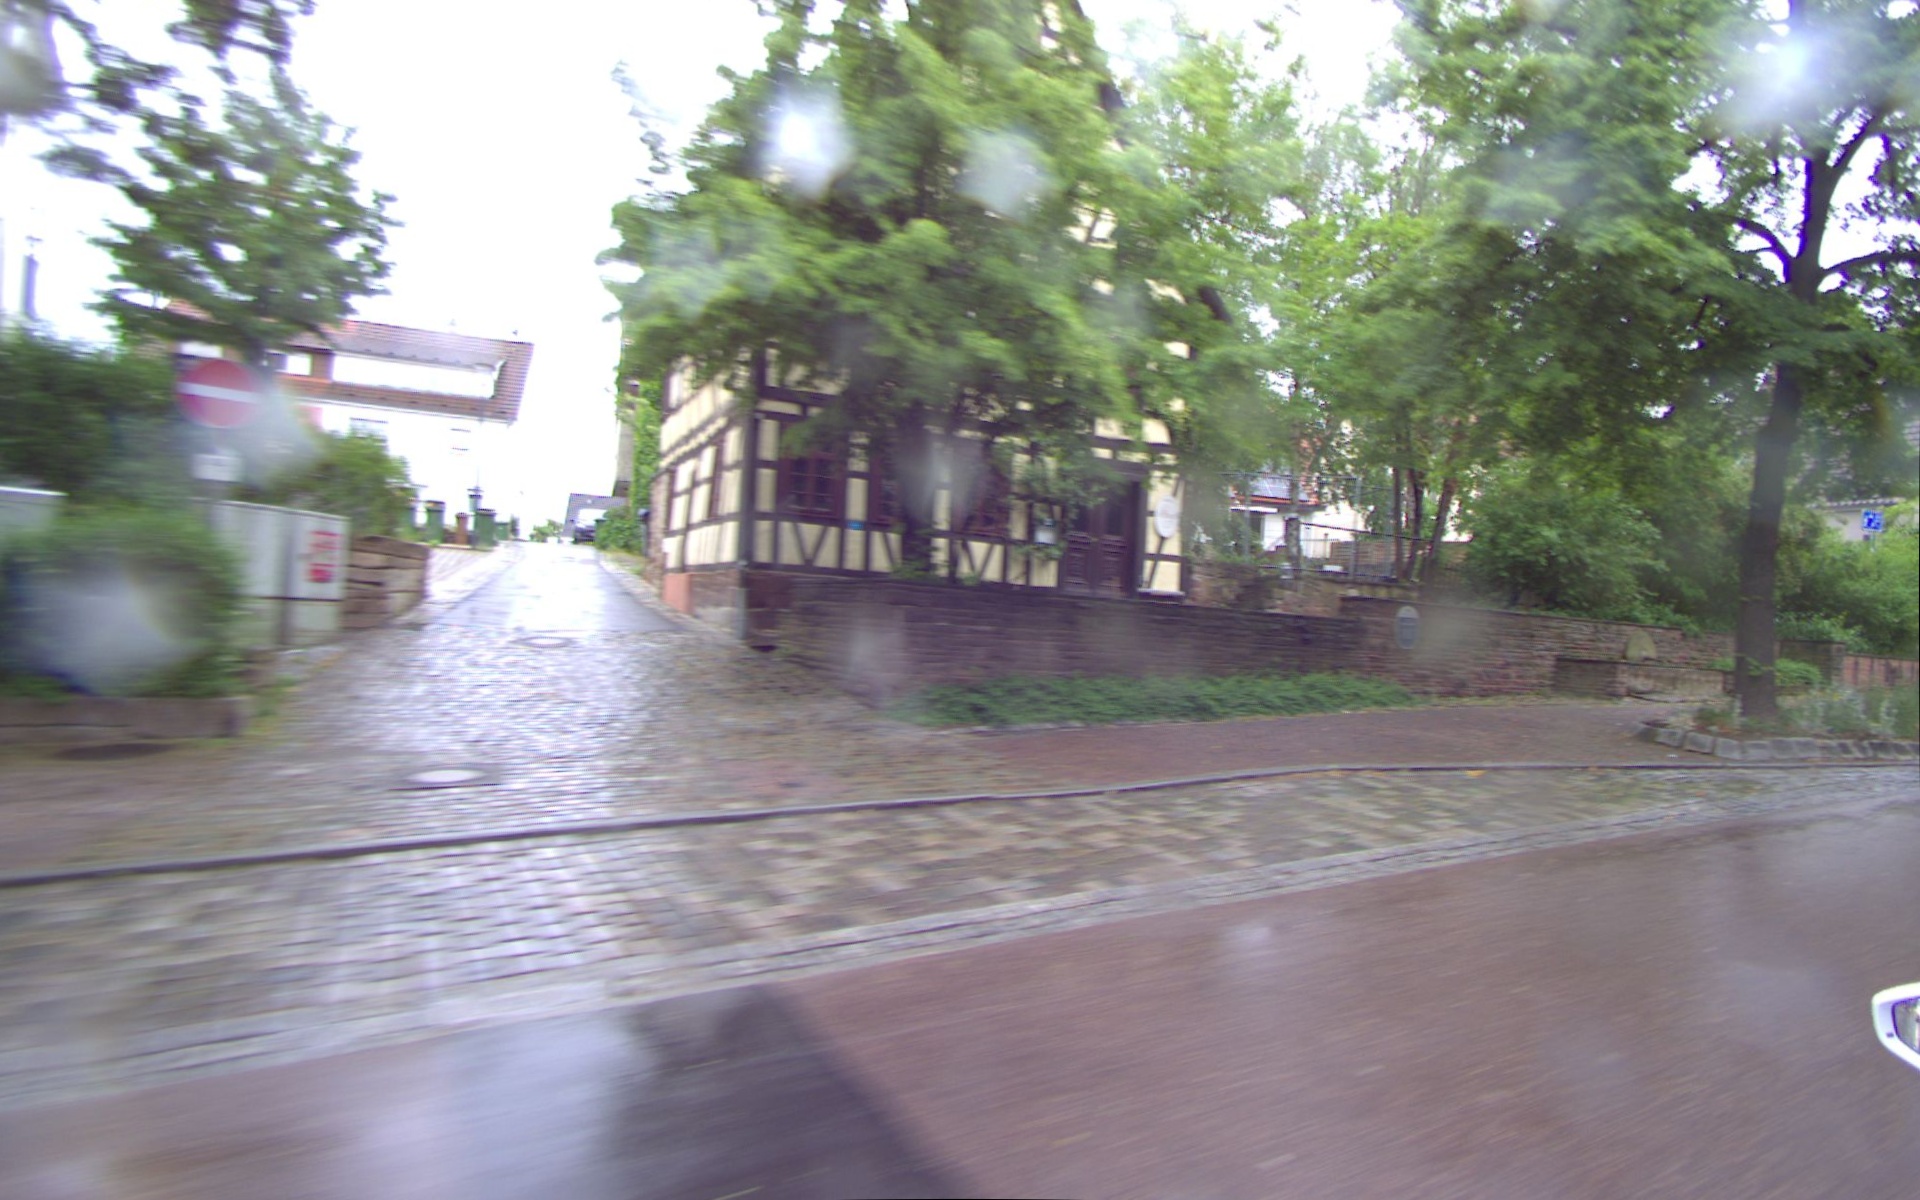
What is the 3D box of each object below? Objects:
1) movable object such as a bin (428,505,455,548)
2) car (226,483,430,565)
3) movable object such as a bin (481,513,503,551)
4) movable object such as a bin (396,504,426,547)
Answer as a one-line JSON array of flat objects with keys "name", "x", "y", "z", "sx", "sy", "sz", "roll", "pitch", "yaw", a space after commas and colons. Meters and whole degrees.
[{"name": "movable object such as a bin", "x": -14.920, "y": -2.101, "z": 28.899, "sx": 0.636, "sy": 1.146, "sz": 0.683, "roll": 3, "pitch": -2, "yaw": -29}, {"name": "car", "x": -13.931, "y": -1.655, "z": 22.215, "sx": 3.611, "sy": 1.361, "sz": 1.598, "roll": 4, "pitch": 4, "yaw": -39}, {"name": "movable object such as a bin", "x": -13.671, "y": -1.985, "z": 29.333, "sx": 0.490, "sy": 1.040, "sz": 0.683, "roll": 3, "pitch": -2, "yaw": -29}, {"name": "movable object such as a bin", "x": -15.662, "y": -2.125, "z": 28.664, "sx": 0.703, "sy": 1.121, "sz": 0.683, "roll": 3, "pitch": -2, "yaw": -29}]
